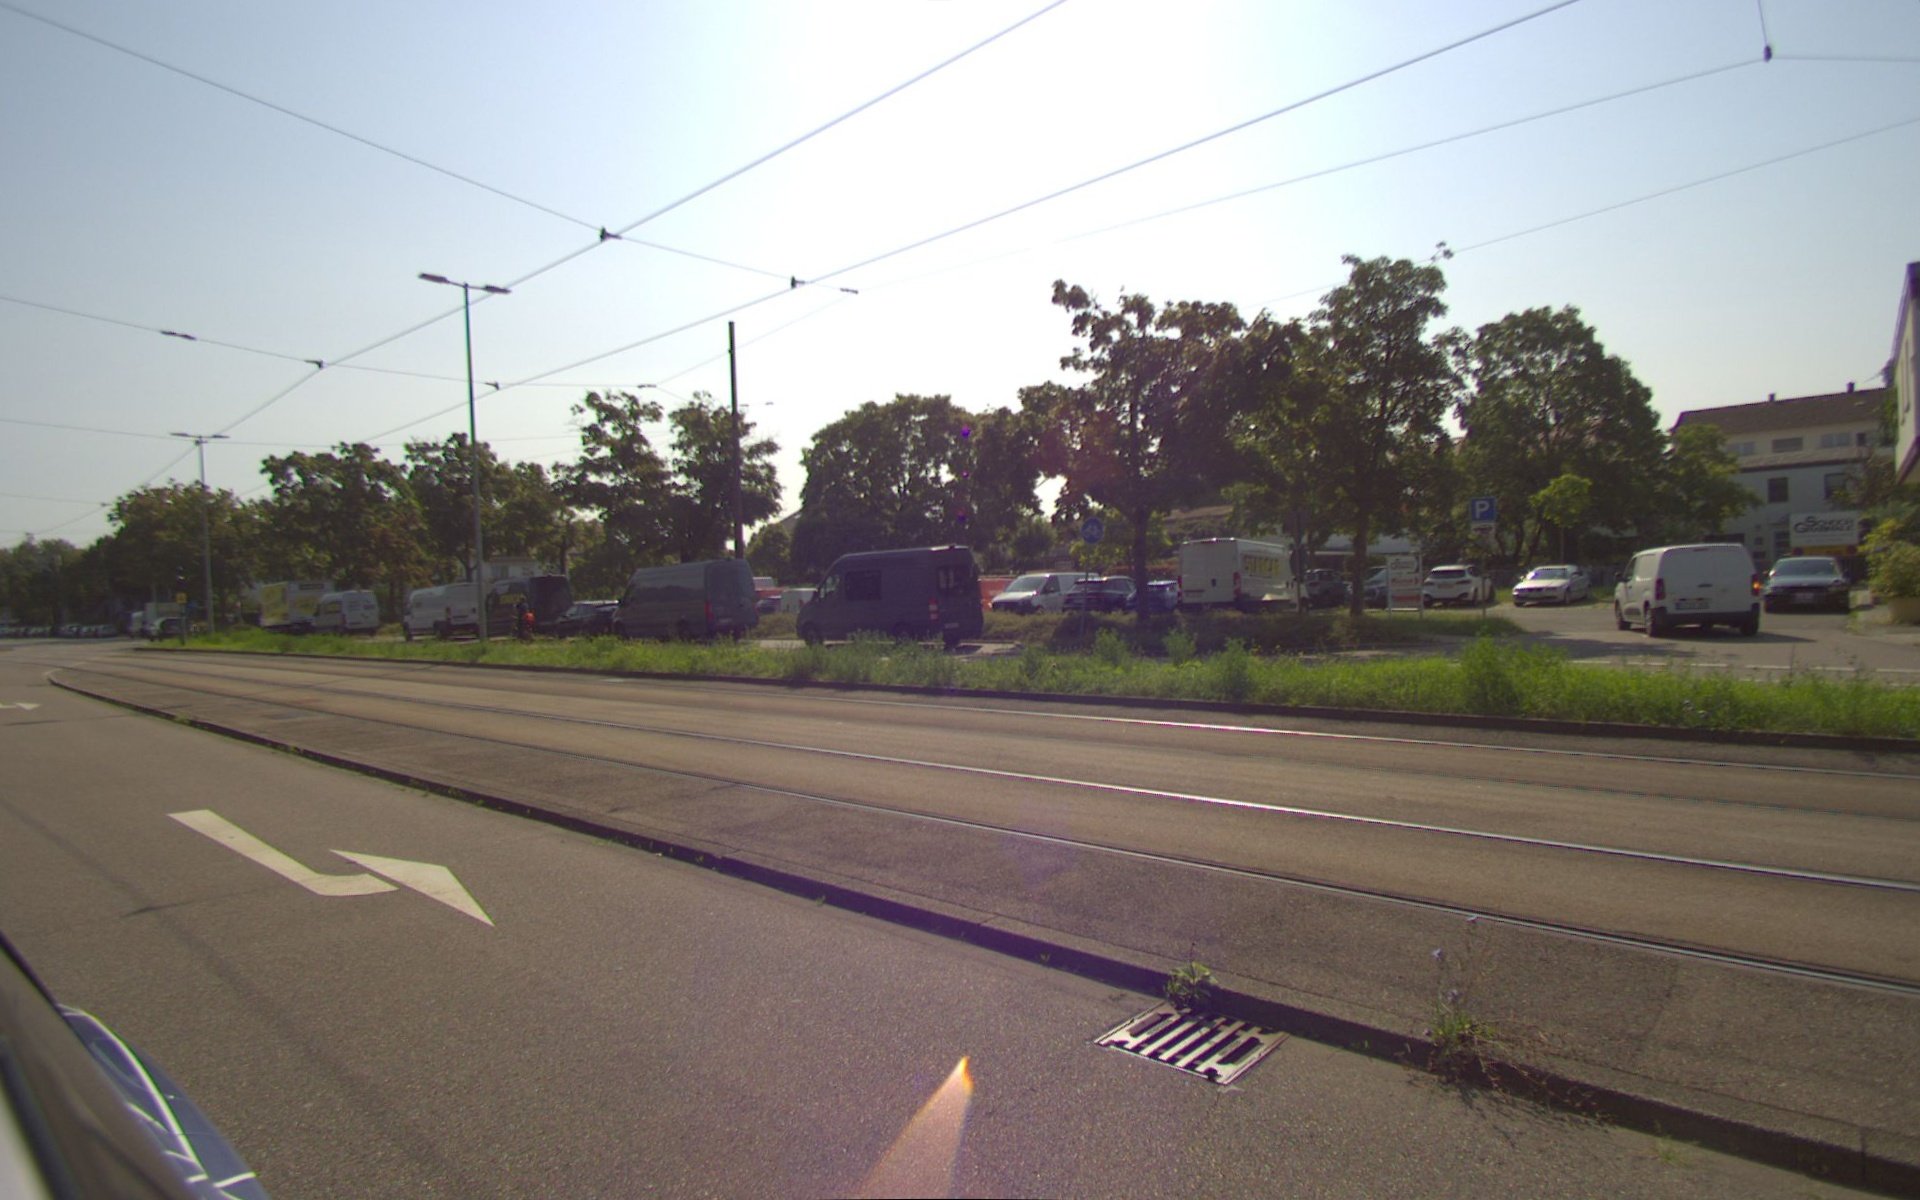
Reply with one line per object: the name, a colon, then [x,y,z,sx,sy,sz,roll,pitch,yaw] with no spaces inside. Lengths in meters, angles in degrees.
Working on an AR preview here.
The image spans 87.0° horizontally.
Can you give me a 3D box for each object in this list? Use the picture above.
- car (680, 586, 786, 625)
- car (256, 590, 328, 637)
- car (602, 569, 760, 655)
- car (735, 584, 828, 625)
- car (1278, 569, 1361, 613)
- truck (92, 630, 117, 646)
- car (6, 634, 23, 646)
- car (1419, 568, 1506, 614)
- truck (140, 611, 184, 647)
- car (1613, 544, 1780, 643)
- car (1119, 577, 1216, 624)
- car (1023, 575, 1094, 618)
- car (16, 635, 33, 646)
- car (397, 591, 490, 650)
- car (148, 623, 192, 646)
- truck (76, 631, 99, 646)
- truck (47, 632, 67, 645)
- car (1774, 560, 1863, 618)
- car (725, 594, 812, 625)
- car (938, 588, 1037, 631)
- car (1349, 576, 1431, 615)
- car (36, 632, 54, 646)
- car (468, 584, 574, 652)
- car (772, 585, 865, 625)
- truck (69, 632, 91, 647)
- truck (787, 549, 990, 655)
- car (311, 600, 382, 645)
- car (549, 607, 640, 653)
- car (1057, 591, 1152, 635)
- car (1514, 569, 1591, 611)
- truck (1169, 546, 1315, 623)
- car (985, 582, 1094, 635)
car: [-11.682,0.272,52.423,2.052,1.940,5.131,-2,-1,41]
car: [-42.228,0.902,63.882,7.231,2.826,2.101,-2,-1,43]
car: [-9.479,0.426,34.009,6.468,2.605,1.967,-2,2,44]
car: [-8.319,0.205,47.384,1.857,1.852,3.944,-2,-1,42]
car: [15.330,-0.377,43.085,3.757,1.782,1.760,-1,-1,-43]
truck: [-96.239,4.262,113.824,3.655,1.687,1.669,-2,-1,43]
car: [-142.934,6.039,152.962,3.454,1.596,1.530,-2,-1,42]
car: [19.124,-0.364,38.455,3.407,1.513,1.878,-5,2,-44]
truck: [-73.819,2.682,93.541,2.247,3.145,8.791,0,-1,-45]
car: [15.219,-0.147,21.195,1.979,1.771,4.381,-3,0,26]
car: [6.810,0.031,33.002,1.632,1.437,3.369,-2,-1,41]
car: [5.272,-0.188,54.076,1.802,2.113,3.947,-2,1,40]
car: [-138.095,5.987,149.320,3.454,1.596,1.530,-2,-1,42]
car: [-24.538,0.983,47.965,5.631,2.606,2.109,-2,-1,43]
car: [-53.925,2.347,69.053,3.951,1.531,1.903,-2,-1,45]
truck: [-103.447,4.607,120.011,3.655,1.687,1.669,-2,-1,43]
truck: [-123.782,5.286,138.703,3.655,1.687,1.669,-2,-1,43]
car: [22.210,-0.306,26.183,1.613,1.353,3.871,-2,0,41]
car: [-9.482,0.459,50.304,1.857,1.462,3.944,-2,-1,42]
car: [1.071,0.347,38.232,1.632,1.530,3.882,-2,-1,41]
car: [17.152,-0.192,40.322,3.660,1.353,1.493,-3,0,-40]
car: [-128.828,5.493,142.453,3.644,1.782,1.530,-2,-1,42]
car: [-18.448,0.775,42.367,5.910,2.605,1.802,-3,1,44]
car: [-6.359,0.215,45.658,1.745,1.707,3.944,-2,-1,42]
truck: [-109.011,4.894,125.297,3.655,1.687,1.669,-2,-1,43]
truck: [-2.048,0.111,27.357,5.737,2.567,2.059,-2,-1,42]
car: [-34.949,1.293,57.612,4.830,2.477,2.120,-2,-1,41]
car: [-13.919,1.140,38.398,3.835,1.563,1.725,-2,1,45]
car: [4.992,0.434,34.737,1.632,1.437,3.369,-2,-1,41]
car: [21.508,-0.373,36.707,3.490,1.353,1.492,-3,0,-44]
truck: [8.899,-0.439,31.617,2.258,2.189,5.433,-2,-1,41]
car: [2.938,0.290,36.468,1.632,1.798,4.353,-2,-1,41]
